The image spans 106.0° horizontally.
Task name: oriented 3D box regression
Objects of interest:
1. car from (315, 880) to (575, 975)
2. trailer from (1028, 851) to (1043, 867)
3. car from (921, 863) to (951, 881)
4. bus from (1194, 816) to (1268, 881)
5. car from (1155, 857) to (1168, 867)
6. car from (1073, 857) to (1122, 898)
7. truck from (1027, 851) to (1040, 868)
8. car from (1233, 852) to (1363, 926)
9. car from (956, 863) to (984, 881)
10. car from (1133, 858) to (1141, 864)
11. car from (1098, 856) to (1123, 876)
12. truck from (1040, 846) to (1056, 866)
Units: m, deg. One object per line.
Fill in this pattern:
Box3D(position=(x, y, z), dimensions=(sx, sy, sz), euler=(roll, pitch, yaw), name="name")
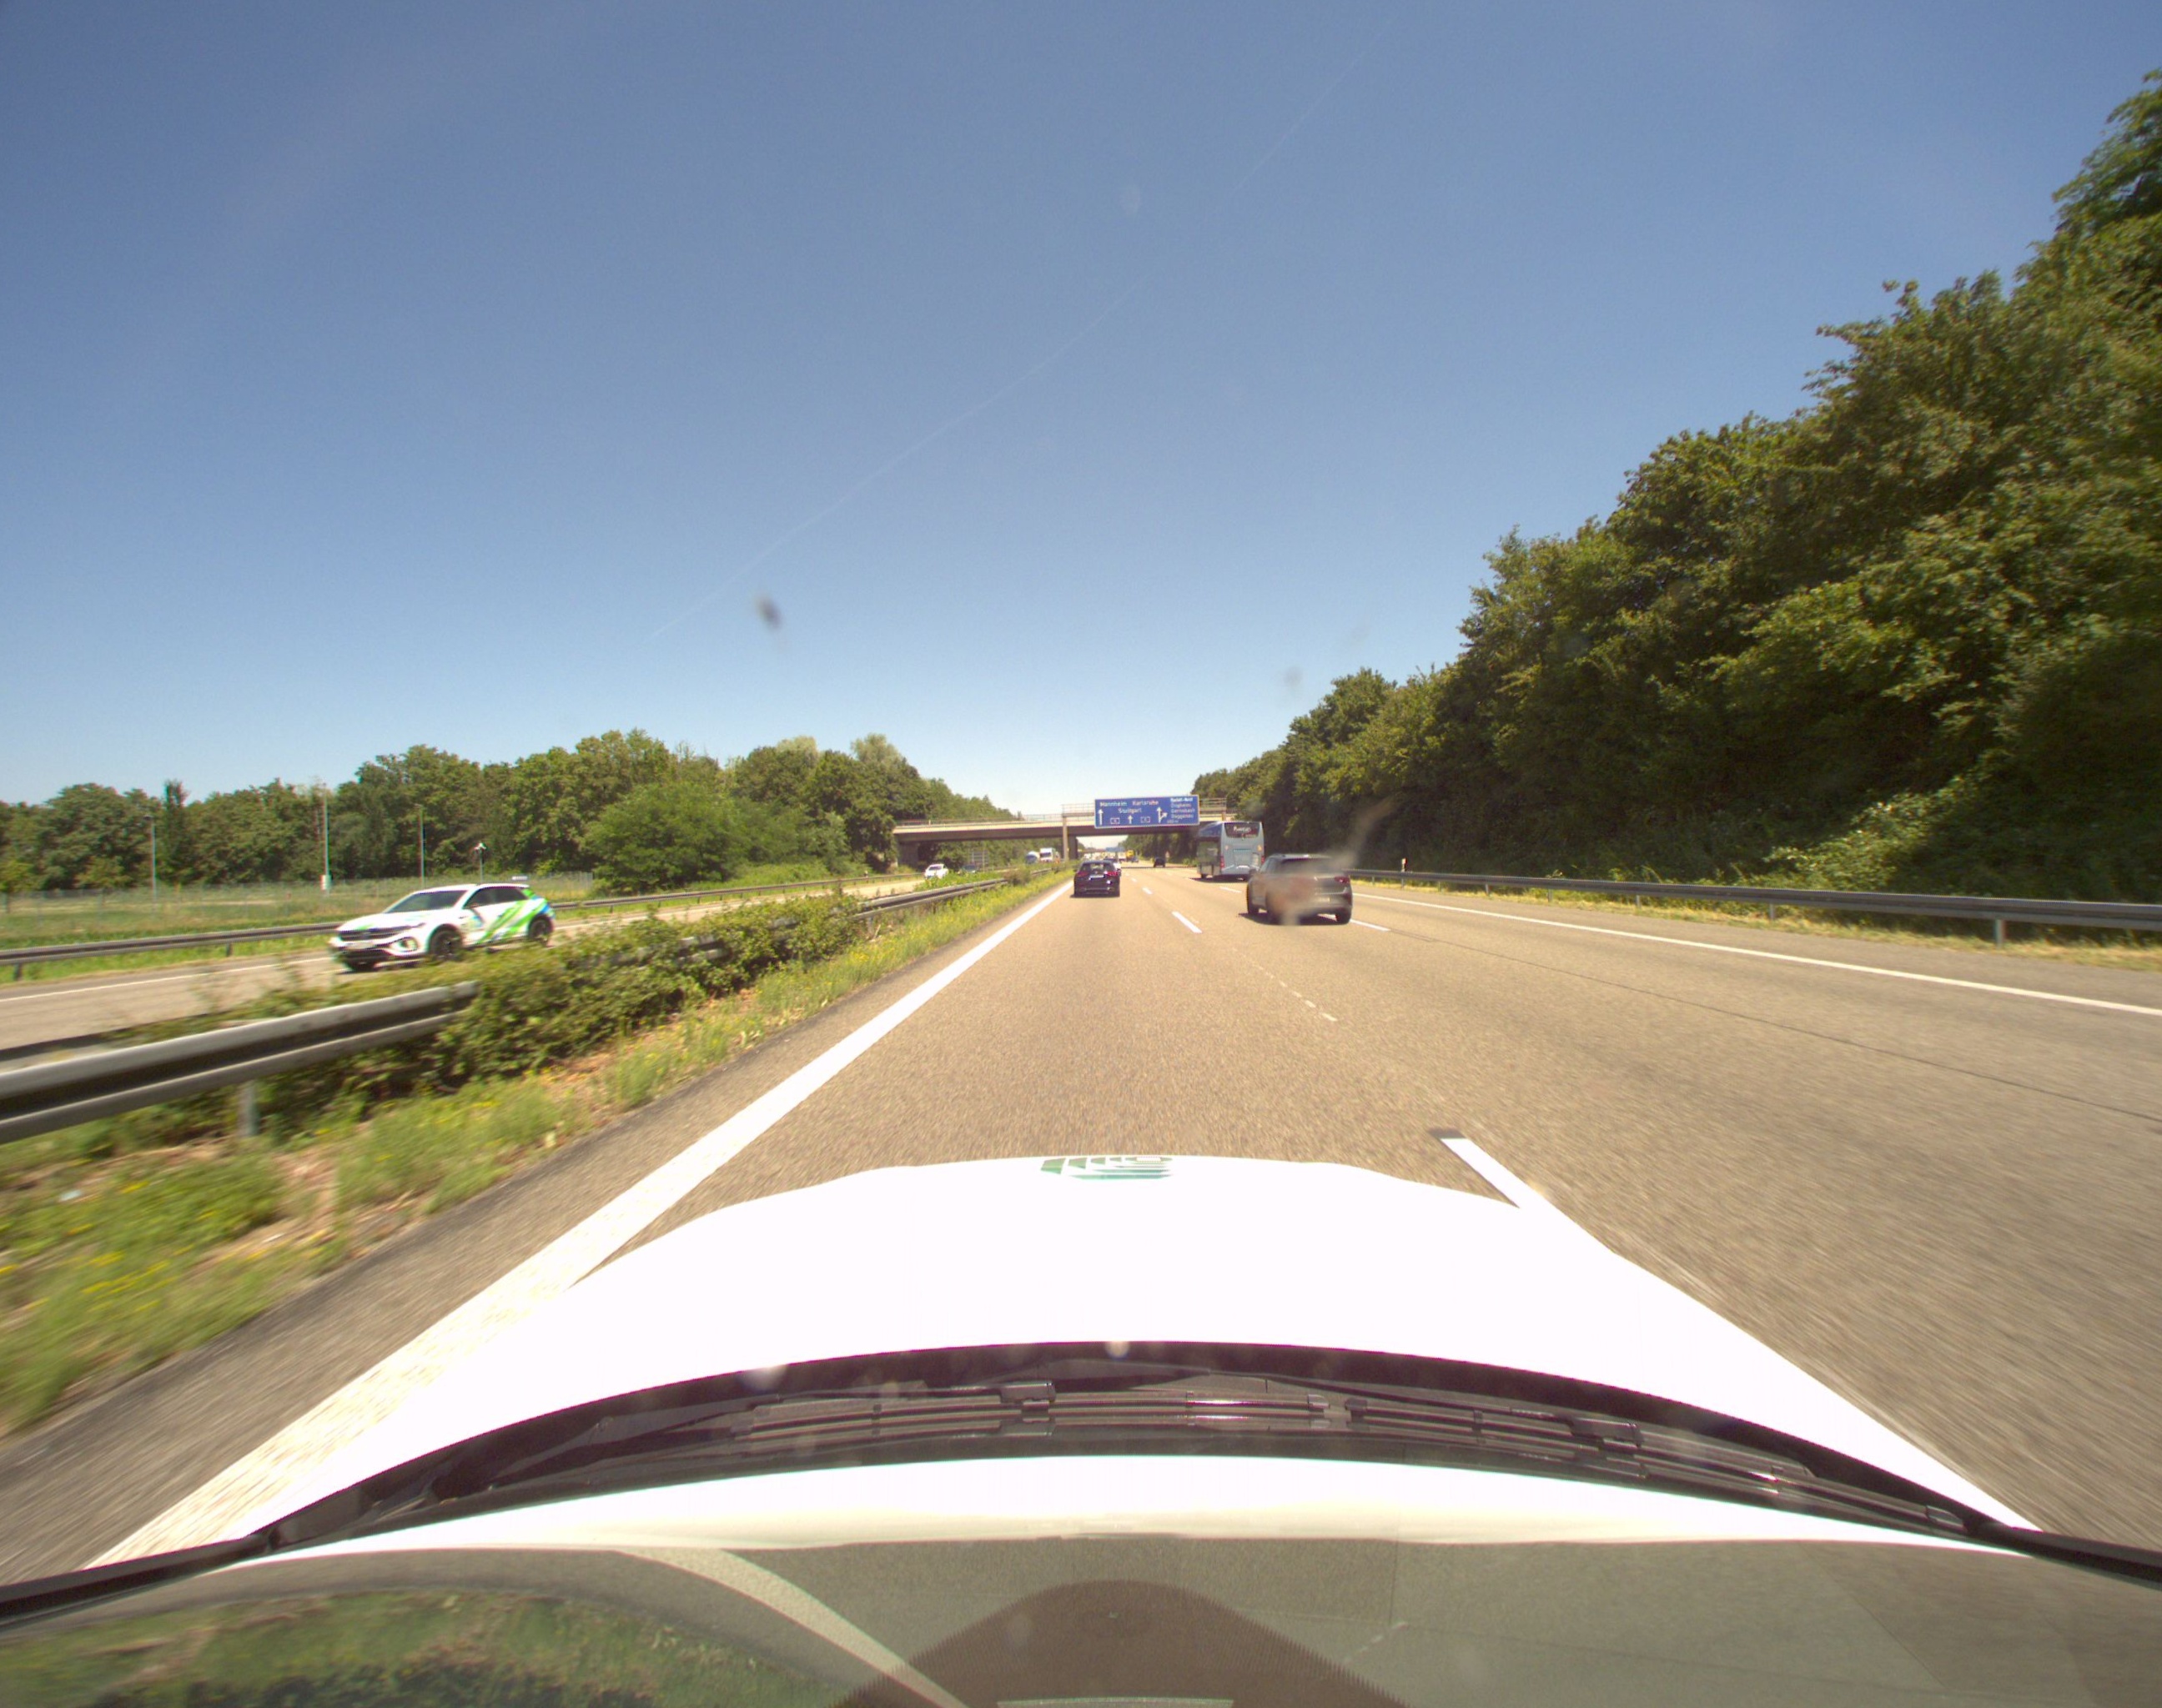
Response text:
Box3D(position=(-13.015, 1.411, 17.102), dimensions=(1.801, 1.483, 4.418), euler=(-4, 0, 2), name="car")
Box3D(position=(-11.002, 1.223, 198.249), dimensions=(2.350, 3.794, 12.080), euler=(-3, 0, 2), name="trailer")
Box3D(position=(-14.384, 1.765, 81.020), dimensions=(1.893, 1.594, 4.744), euler=(-3, 0, 1), name="car")
Box3D(position=(9.248, -0.250, 51.741), dimensions=(2.791, 3.596, 12.480), euler=(-1, 0, 2), name="bus")
Box3D(position=(12.475, 1.256, 126.436), dimensions=(1.782, 1.461, 3.952), euler=(-1, 0, 3), name="car")
Box3D(position=(0.653, 0.876, 32.518), dimensions=(1.793, 1.502, 4.242), euler=(-1, 0, 1), name="car")
Box3D(position=(-11.250, 1.207, 191.305), dimensions=(2.351, 3.775, 5.254), euler=(-3, 0, 2), name="truck")
Box3D(position=(4.990, 0.744, 19.441), dimensions=(1.892, 1.532, 4.760), euler=(-1, 0, 1), name="car")
Box3D(position=(-10.755, 1.719, 79.306), dimensions=(1.893, 1.532, 5.033), euler=(-5, -1, 1), name="car")
Box3D(position=(14.831, 1.942, 217.495), dimensions=(2.072, 1.532, 4.244), euler=(-1, 0, 3), name="car")
Box3D(position=(2.416, 0.984, 67.559), dimensions=(1.892, 1.532, 4.242), euler=(-1, 0, 1), name="car")
Box3D(position=(-7.300, 0.371, 181.381), dimensions=(2.818, 4.211, 5.891), euler=(-3, 0, 2), name="truck")
